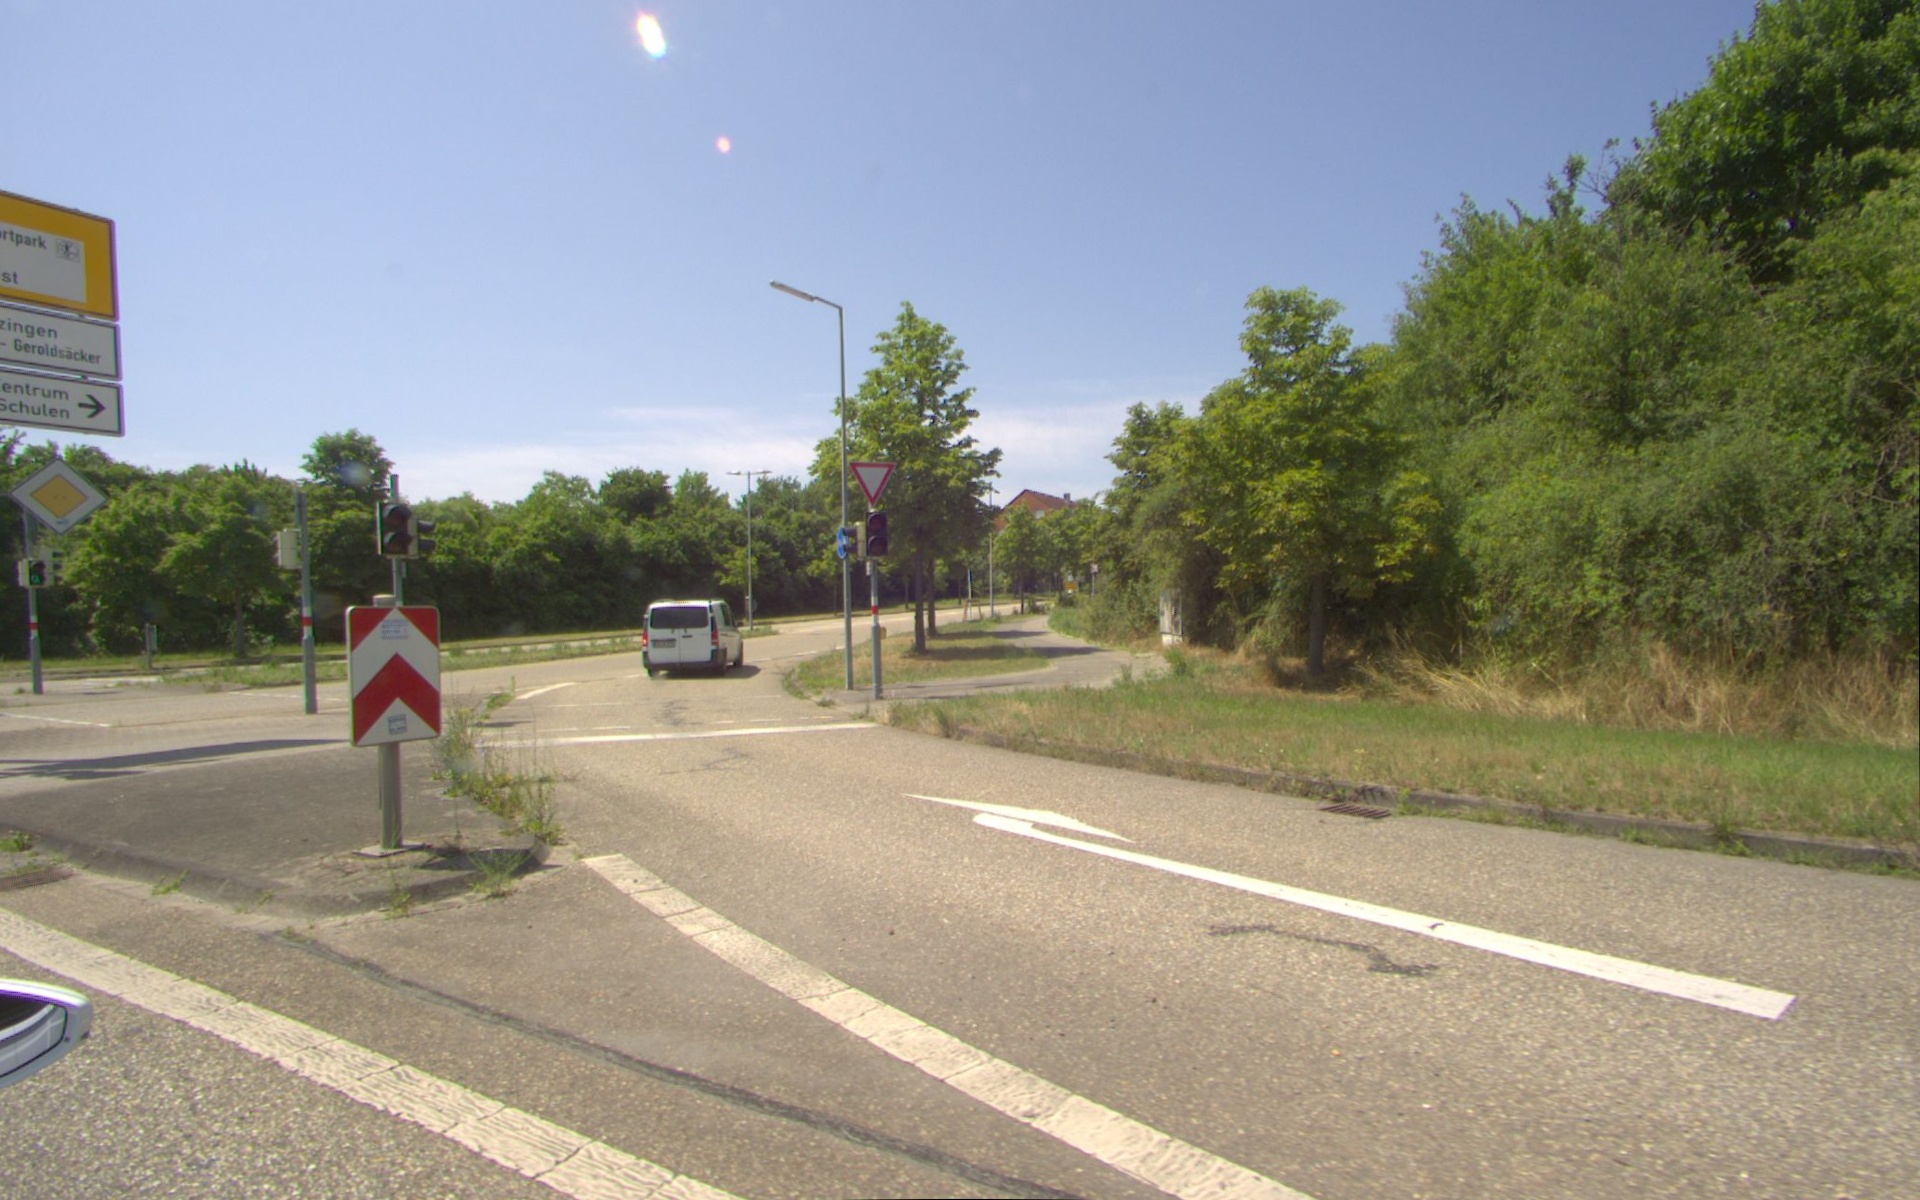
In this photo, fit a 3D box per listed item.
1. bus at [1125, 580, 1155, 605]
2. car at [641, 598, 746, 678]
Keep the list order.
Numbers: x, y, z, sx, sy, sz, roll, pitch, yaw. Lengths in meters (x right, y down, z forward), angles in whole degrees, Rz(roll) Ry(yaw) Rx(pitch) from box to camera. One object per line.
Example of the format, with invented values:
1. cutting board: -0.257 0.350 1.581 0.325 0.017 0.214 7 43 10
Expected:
1. bus: 23.995 -0.994 132.706 2.584 3.127 12.062 -1 0 16
2. car: -6.780 0.905 25.960 1.830 1.842 4.907 -1 0 -6
